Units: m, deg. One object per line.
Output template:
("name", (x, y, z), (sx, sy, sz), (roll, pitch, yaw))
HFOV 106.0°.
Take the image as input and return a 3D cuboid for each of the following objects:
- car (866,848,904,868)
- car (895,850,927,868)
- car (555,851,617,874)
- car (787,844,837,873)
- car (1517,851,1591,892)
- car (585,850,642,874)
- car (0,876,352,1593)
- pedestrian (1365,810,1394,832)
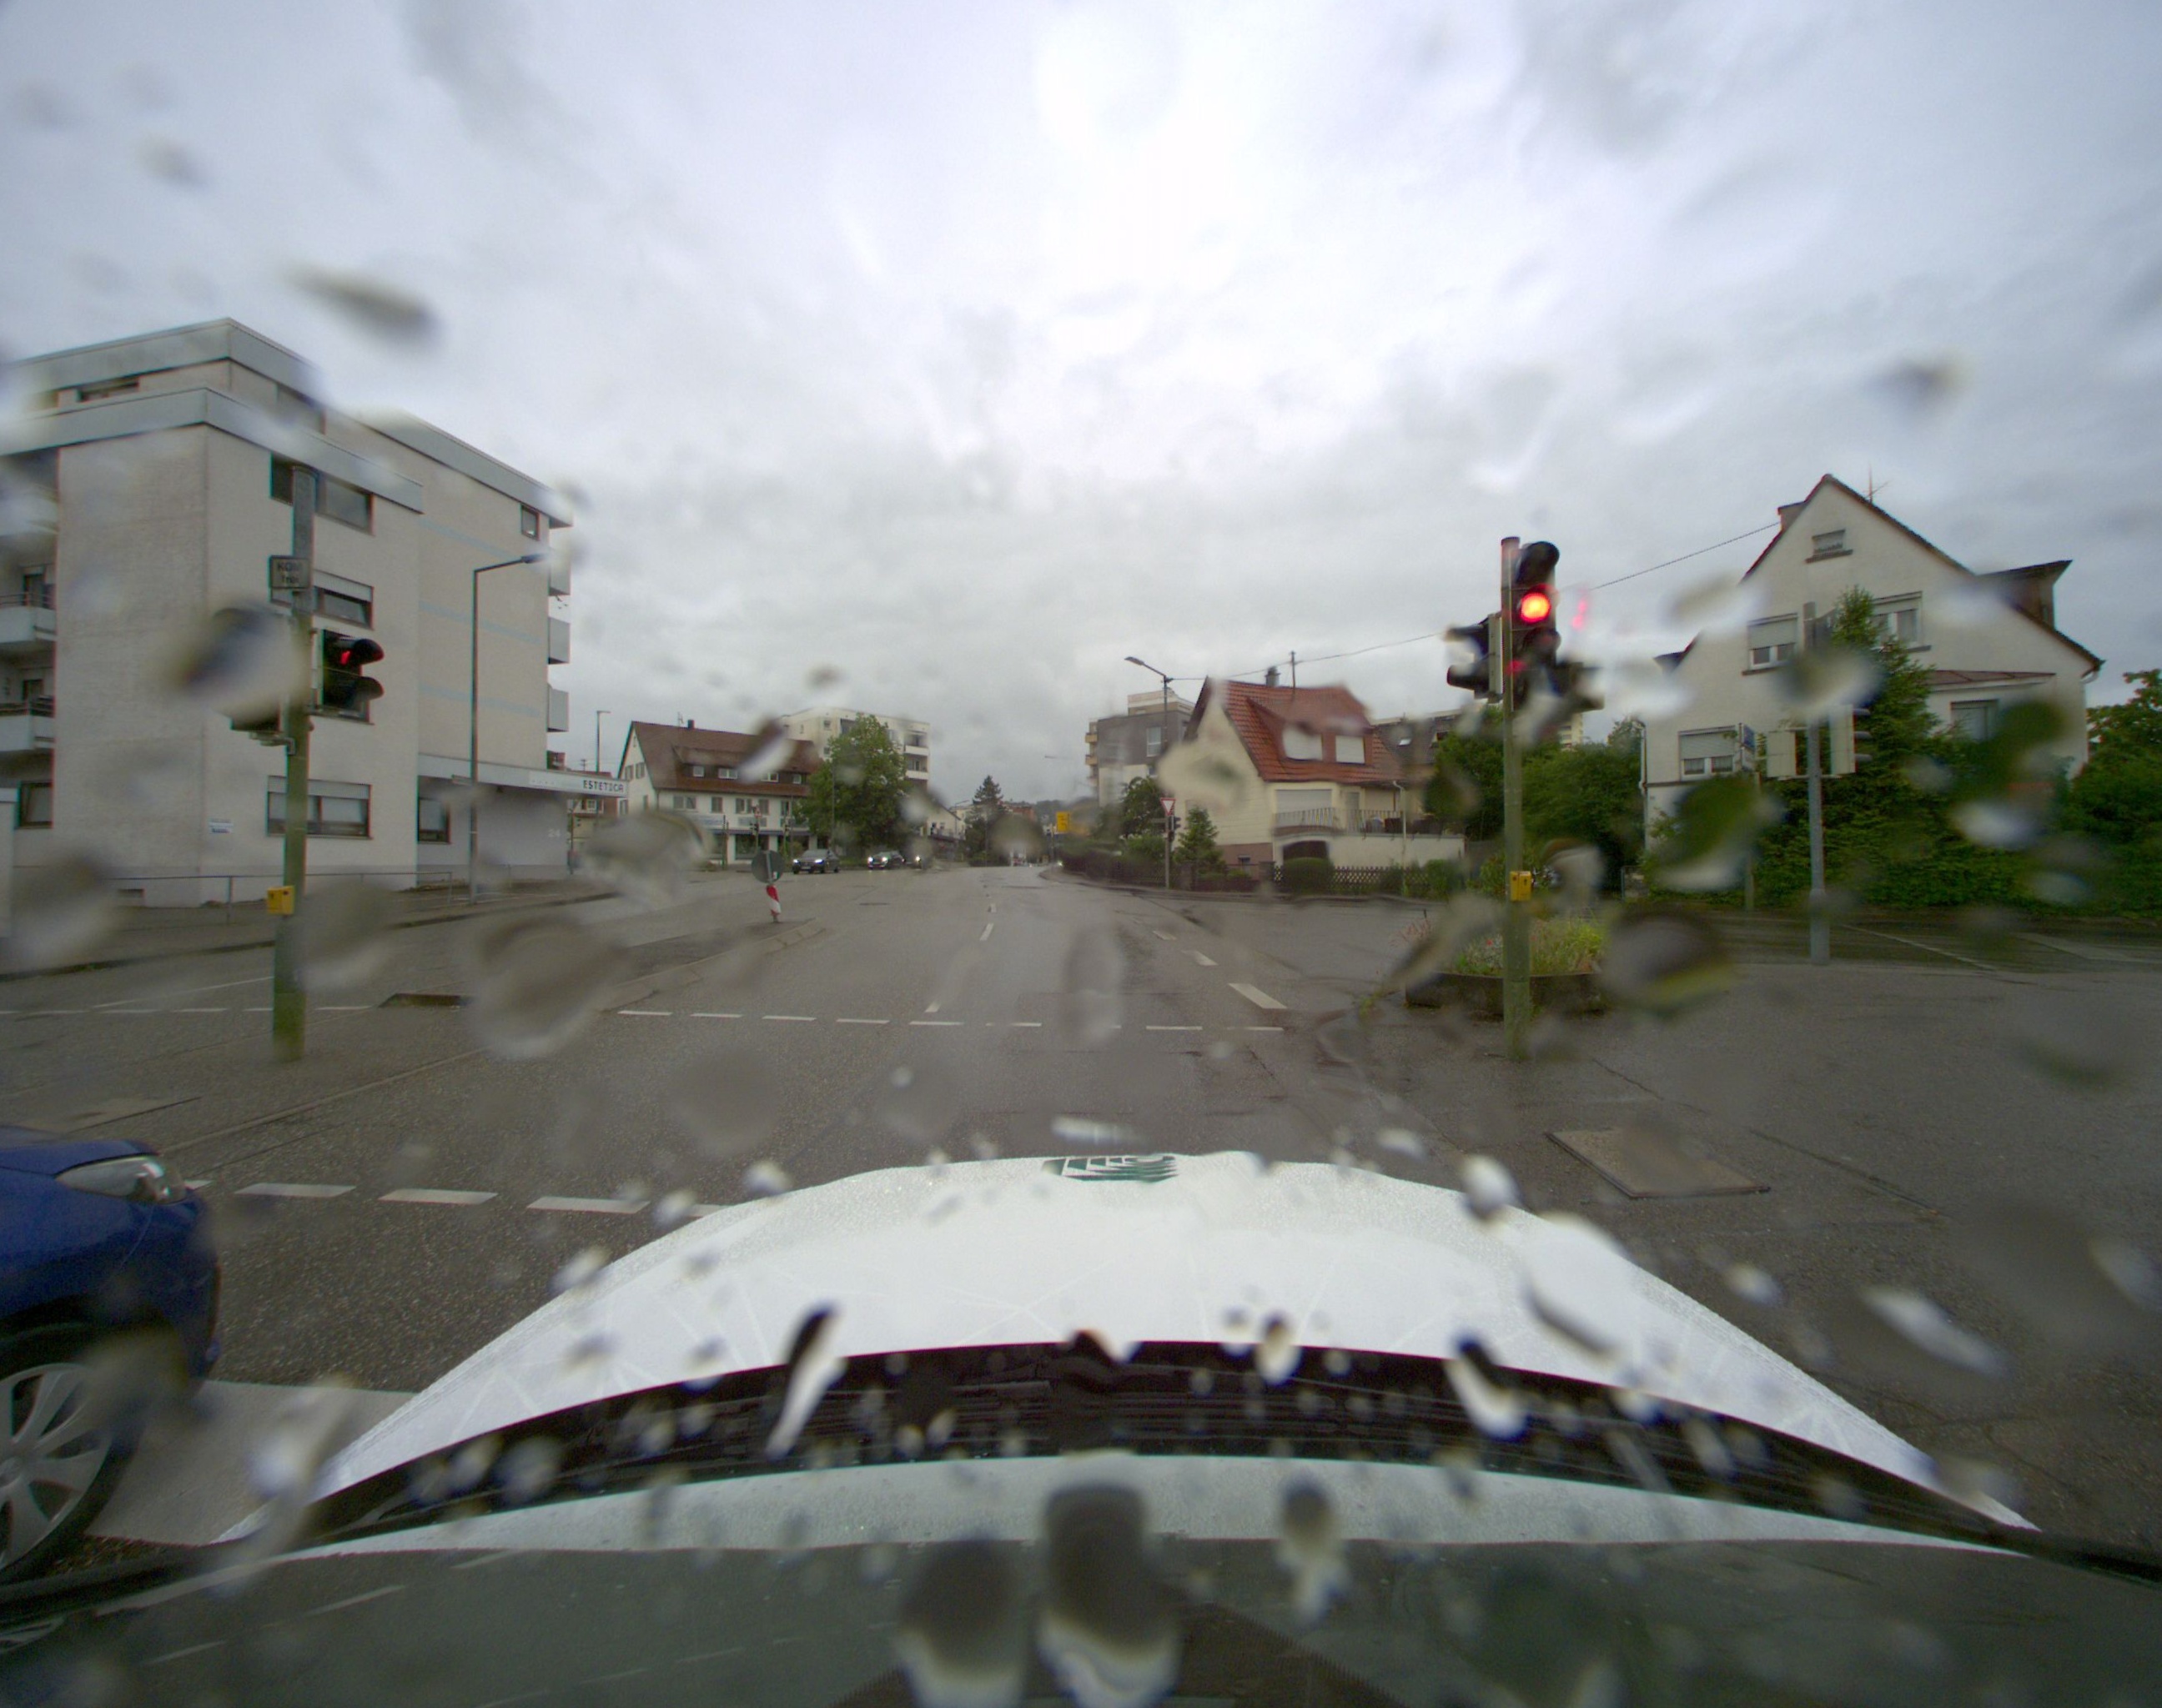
("car", (-15.293, 0.328, 63.705), (1.960, 1.512, 3.999), (0, -1, 0))
("car", (-14.958, 0.446, 71.764), (1.873, 1.597, 4.184), (0, -1, 0))
("car", (-41.214, 0.677, 67.801), (4.093, 1.843, 1.864), (0, -1, -44))
("car", (-16.160, 0.289, 48.779), (2.006, 1.625, 4.495), (0, -1, -30))
("car", (17.113, 0.606, 29.370), (1.794, 1.362, 4.025), (-1, -1, 37))
("car", (-38.440, 0.638, 66.978), (3.706, 1.920, 1.864), (0, -1, -44))
("car", (-2.950, 0.784, 0.724), (1.499, 1.413, 3.365), (0, 0, 2))
("pedestrian", (12.773, -1.425, 34.855), (0.918, 0.883, 0.632), (0, -3, -18))
